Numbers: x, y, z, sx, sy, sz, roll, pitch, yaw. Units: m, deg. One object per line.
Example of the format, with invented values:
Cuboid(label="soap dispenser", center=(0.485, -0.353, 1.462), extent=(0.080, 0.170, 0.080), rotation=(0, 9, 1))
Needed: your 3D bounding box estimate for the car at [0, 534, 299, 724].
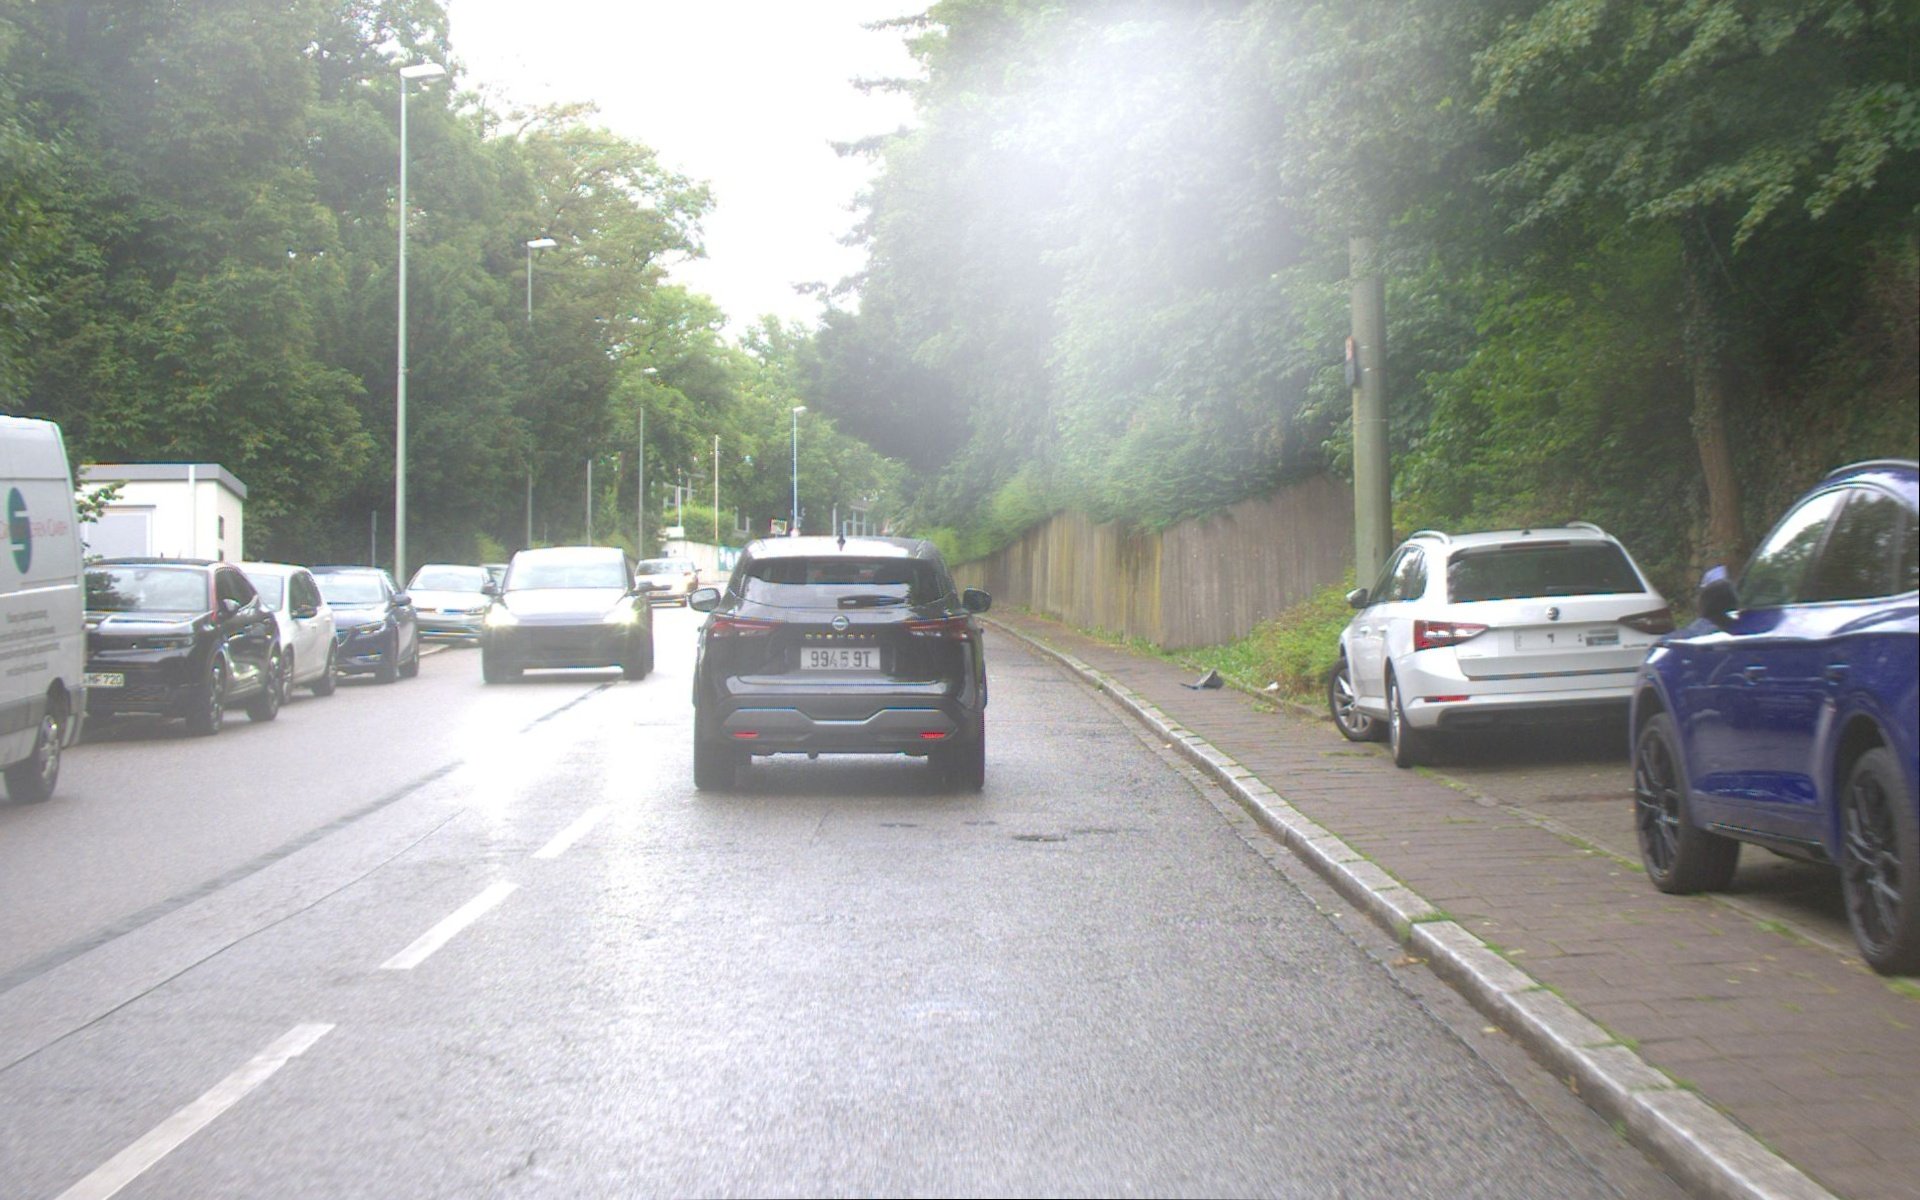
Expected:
Cuboid(label="car", center=(-7.368, 0.201, 31.123), extent=(1.990, 1.561, 4.458), rotation=(-1, 1, -1))

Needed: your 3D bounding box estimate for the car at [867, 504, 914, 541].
Cuboid(label="car", center=(-3.334, -3.707, 165.174), extent=(1.993, 1.554, 3.999), rotation=(-2, -1, 2))

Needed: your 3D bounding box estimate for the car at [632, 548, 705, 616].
Cuboid(label="car", center=(-8.767, -0.516, 103.723), extent=(1.993, 1.941, 4.000), rotation=(1, -1, -2))

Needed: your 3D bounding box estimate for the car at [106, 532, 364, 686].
Cuboid(label="car", center=(-7.919, 0.049, 37.953), extent=(1.990, 1.561, 4.458), rotation=(-1, 1, -1))

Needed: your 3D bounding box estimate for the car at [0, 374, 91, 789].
Cuboid(label="car", center=(-6.694, -0.084, 19.825), extent=(1.990, 2.466, 5.785), rotation=(-1, 1, -1))

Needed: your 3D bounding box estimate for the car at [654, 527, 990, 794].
Cuboid(label="car", center=(-0.840, 0.320, 22.610), extent=(1.993, 1.554, 4.000), rotation=(1, 2, 0))

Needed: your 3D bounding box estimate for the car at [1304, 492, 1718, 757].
Cuboid(label="car", center=(3.558, 0.117, 23.007), extent=(1.810, 1.525, 4.418), rotation=(-3, 1, -3))

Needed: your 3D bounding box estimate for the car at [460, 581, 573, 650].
Cuboid(label="car", center=(-9.680, 0.318, 75.371), extent=(1.990, 1.379, 4.458), rotation=(-1, 1, -1))

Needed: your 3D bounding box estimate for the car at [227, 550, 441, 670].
Cuboid(label="car", center=(-7.901, 0.091, 43.769), extent=(1.990, 1.379, 4.458), rotation=(-1, 1, -1))

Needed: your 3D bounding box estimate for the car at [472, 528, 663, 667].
Cuboid(label="car", center=(-4.733, -0.069, 41.925), extent=(1.993, 1.554, 4.001), rotation=(1, 2, -2))

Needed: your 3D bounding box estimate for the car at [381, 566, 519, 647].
Cuboid(label="car", center=(-9.503, 0.100, 64.366), extent=(1.990, 1.379, 4.458), rotation=(-1, 1, -1))

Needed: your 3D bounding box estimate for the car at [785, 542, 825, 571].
Cuboid(label="car", center=(-8.364, -2.377, 185.501), extent=(2.074, 1.554, 4.000), rotation=(0, 1, -2))

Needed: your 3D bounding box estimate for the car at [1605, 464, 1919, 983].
Cuboid(label="car", center=(3.666, 0.293, 12.162), extent=(1.811, 1.525, 4.417), rotation=(-3, 1, -1))
